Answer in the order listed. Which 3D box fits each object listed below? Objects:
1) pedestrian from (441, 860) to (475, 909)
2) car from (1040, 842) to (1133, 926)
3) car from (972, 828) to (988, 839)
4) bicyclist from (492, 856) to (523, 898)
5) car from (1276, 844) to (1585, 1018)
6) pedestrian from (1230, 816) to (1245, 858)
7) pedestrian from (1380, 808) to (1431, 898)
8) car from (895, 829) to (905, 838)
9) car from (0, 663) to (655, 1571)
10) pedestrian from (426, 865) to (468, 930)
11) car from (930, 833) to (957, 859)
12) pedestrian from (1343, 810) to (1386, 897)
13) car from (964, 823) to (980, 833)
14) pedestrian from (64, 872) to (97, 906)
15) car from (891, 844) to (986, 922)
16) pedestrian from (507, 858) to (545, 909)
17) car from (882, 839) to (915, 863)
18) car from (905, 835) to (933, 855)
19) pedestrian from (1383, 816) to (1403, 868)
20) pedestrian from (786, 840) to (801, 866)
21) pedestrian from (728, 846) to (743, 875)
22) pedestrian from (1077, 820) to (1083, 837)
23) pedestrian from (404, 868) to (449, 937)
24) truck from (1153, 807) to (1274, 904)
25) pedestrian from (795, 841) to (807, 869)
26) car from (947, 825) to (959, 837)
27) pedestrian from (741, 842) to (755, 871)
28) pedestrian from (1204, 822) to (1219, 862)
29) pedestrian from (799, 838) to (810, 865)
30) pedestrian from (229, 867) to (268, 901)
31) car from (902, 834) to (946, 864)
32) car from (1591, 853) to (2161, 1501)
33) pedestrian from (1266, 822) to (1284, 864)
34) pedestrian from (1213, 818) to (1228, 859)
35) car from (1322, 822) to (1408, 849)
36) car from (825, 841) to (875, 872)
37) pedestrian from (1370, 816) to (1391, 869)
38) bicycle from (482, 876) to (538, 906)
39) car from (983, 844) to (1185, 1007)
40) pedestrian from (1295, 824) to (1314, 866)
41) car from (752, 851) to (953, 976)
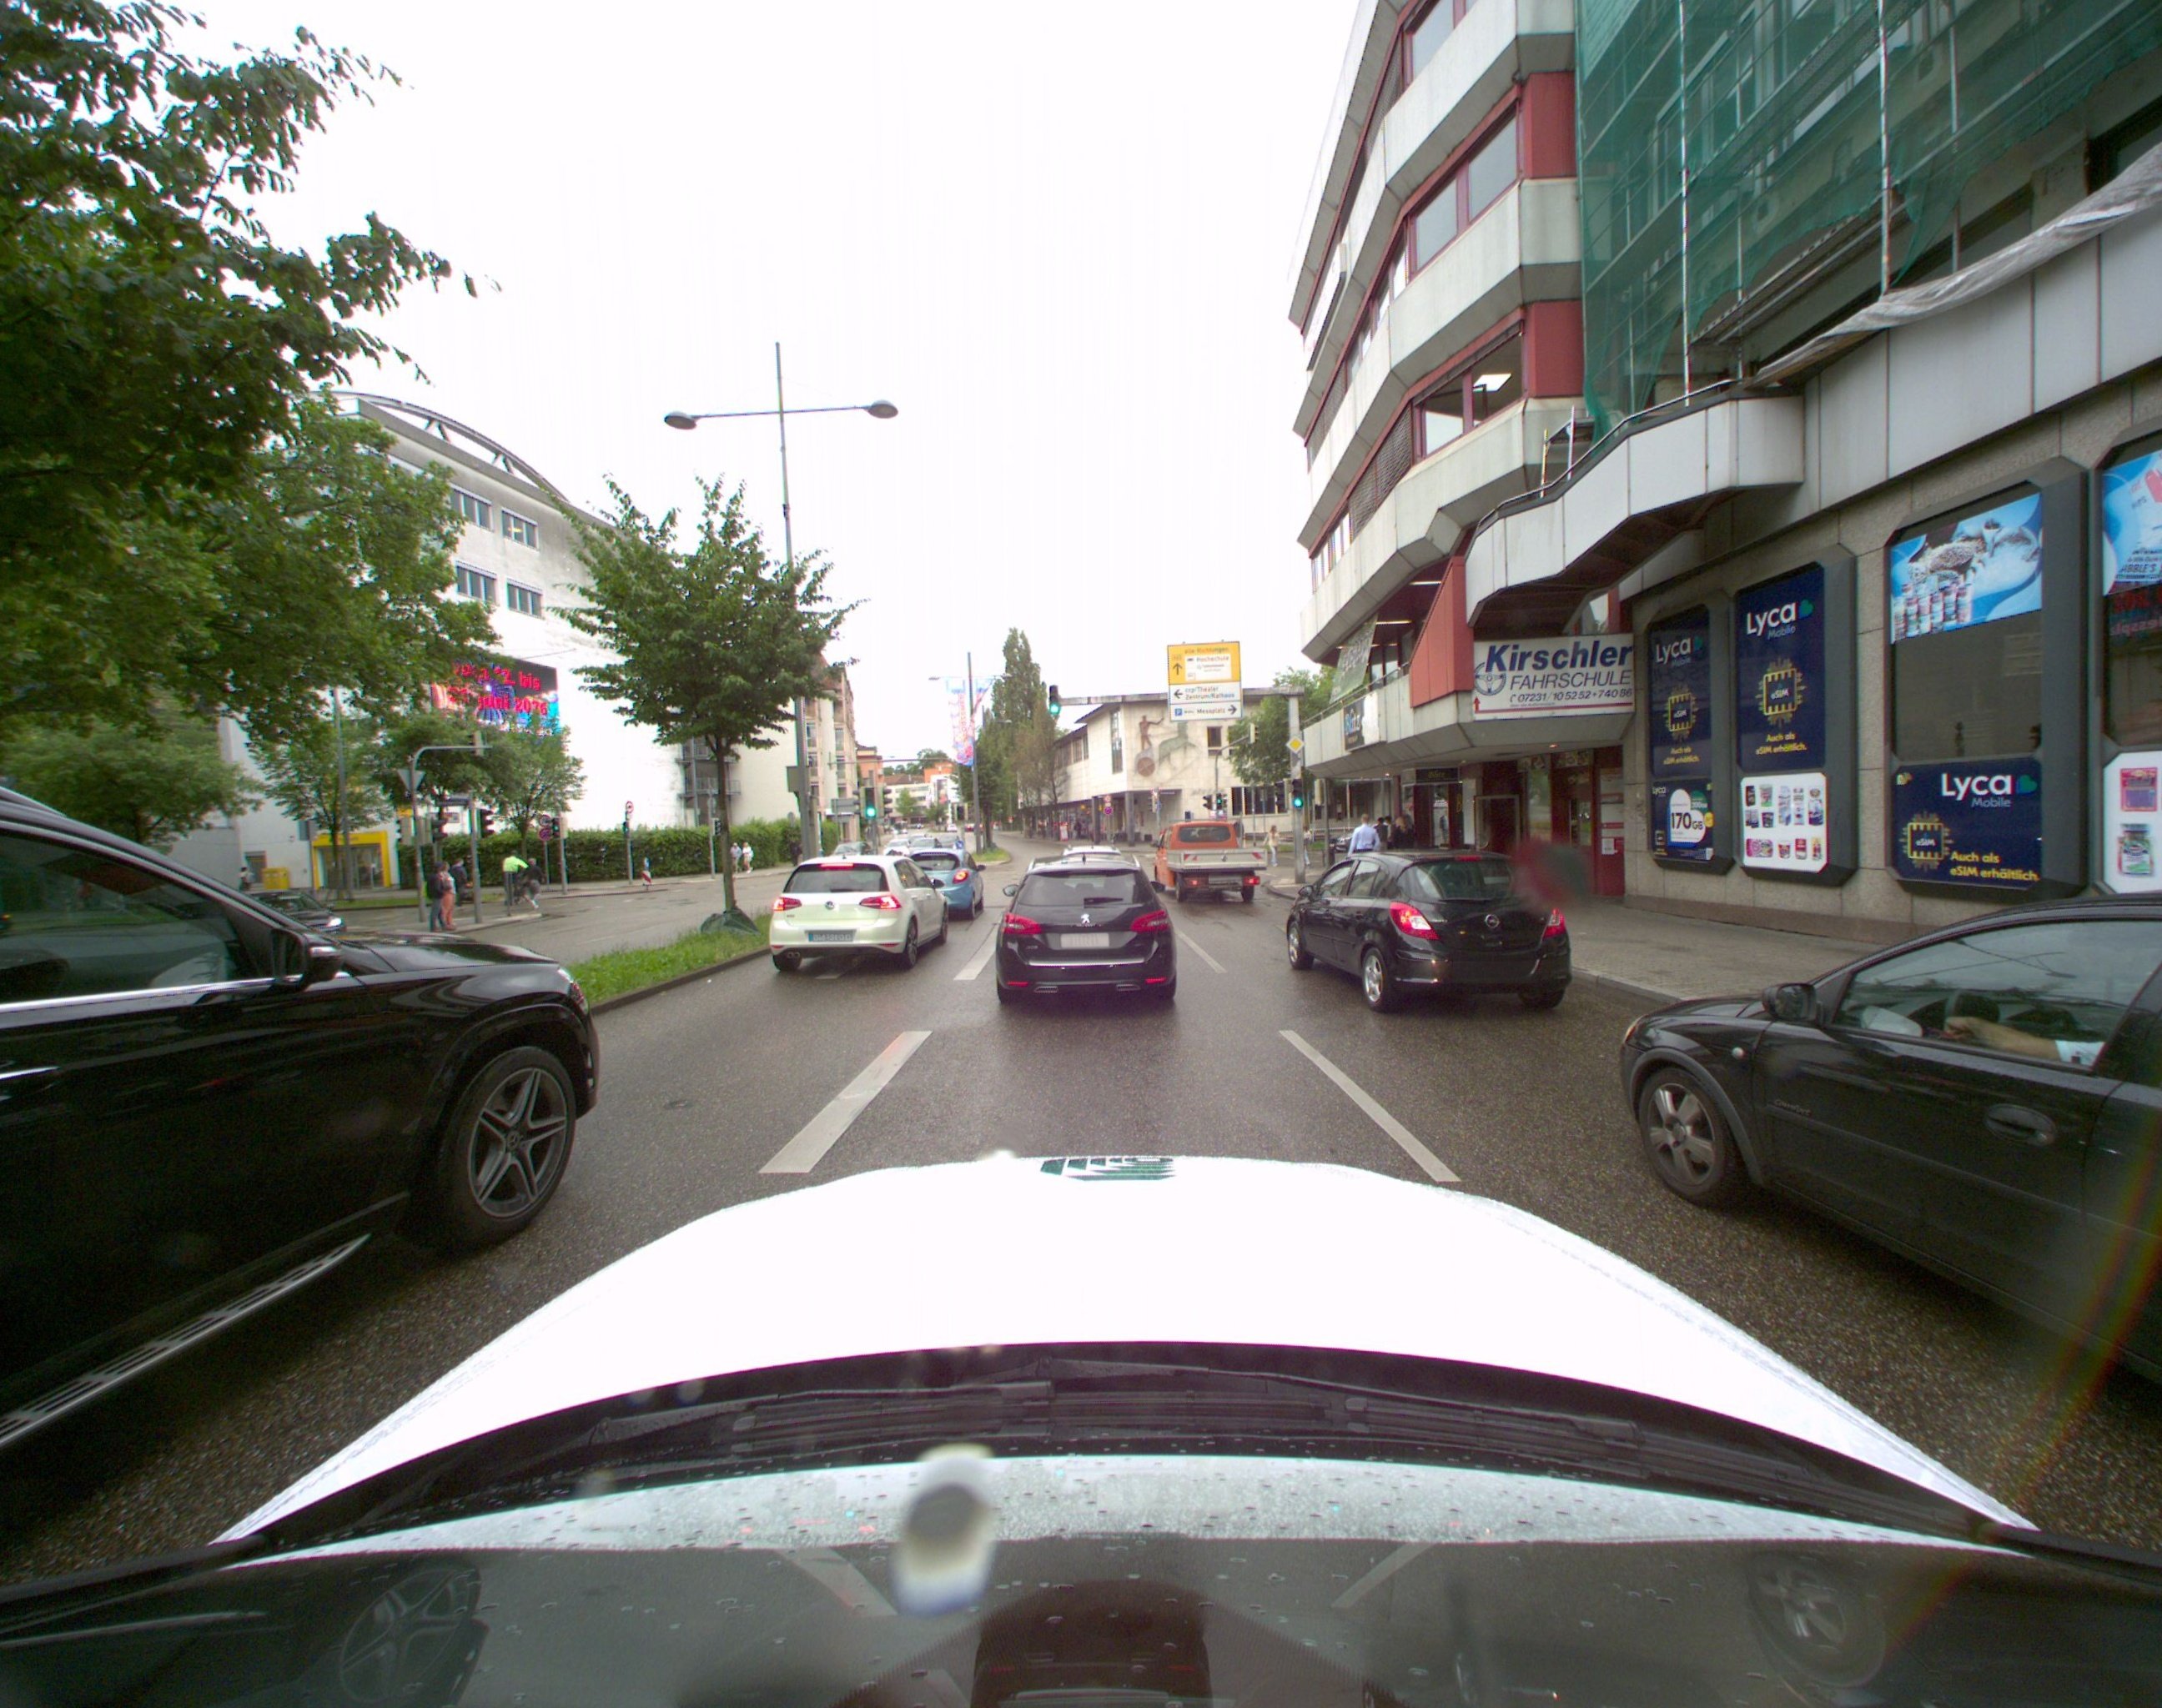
[{"bbox_3d":[-21.992,1.060,28.770,0.637,1.666,0.580,-2,2,1],"label":"pedestrian"},{"bbox_3d":[0.152,0.531,16.833,1.690,1.486,3.795,-1,1,2],"label":"car"},{"bbox_3d":[-15.281,-3.084,123.017,1.790,1.454,4.485,-5,3,-14],"label":"car"},{"bbox_3d":[-21.155,0.840,30.032,0.629,1.530,0.609,-3,-1,1],"label":"bicyclist"},{"bbox_3d":[3.387,0.621,8.730,1.611,1.429,3.840,-1,1,-1],"label":"car"},{"bbox_3d":[7.272,-0.783,37.830,0.633,1.897,0.735,-1,-1,8],"label":"pedestrian"},{"bbox_3d":[7.374,-0.019,18.535,0.733,1.934,0.640,-5,-1,1],"label":"pedestrian"},{"bbox_3d":[-44.914,-5.123,202.240,1.999,2.014,3.976,0,-1,-18],"label":"car"},{"bbox_3d":[-3.183,0.549,1.656,1.905,1.870,5.073,-1,-1,1],"label":"car"},{"bbox_3d":[-16.948,1.152,21.782,0.555,1.661,0.580,-2,2,2],"label":"pedestrian"},{"bbox_3d":[-9.261,-0.492,55.138,1.743,1.640,3.988,0,-1,-9],"label":"car"},{"bbox_3d":[6.411,-0.007,18.445,0.733,1.935,0.640,-1,-1,1],"label":"pedestrian"},{"bbox_3d":[-19.109,-4.538,142.606,1.731,1.490,4.699,0,-1,-21],"label":"car"},{"bbox_3d":[-48.488,1.685,39.471,0.633,1.643,0.735,-1,-1,8],"label":"pedestrian"},{"bbox_3d":[-3.046,0.555,18.062,1.629,1.486,3.606,-1,1,-3],"label":"car"},{"bbox_3d":[-18.801,0.993,27.608,0.750,1.661,0.628,-2,2,1],"label":"pedestrian"},{"bbox_3d":[-12.138,-0.219,54.264,1.630,1.486,3.604,-1,1,-4],"label":"car"},{"bbox_3d":[-12.634,-0.742,63.687,1.630,1.486,3.604,-1,1,-4],"label":"car"},{"bbox_3d":[10.143,-0.377,26.484,0.395,1.640,0.504,-3,-1,2],"label":"pedestrian"},{"bbox_3d":[-18.451,-0.071,52.224,0.634,1.643,0.735,-1,-1,5],"label":"pedestrian"},{"bbox_3d":[-19.304,0.376,45.505,0.579,1.599,0.526,-1,-1,-5],"label":"pedestrian"},{"bbox_3d":[-0.119,-2.580,82.863,0.469,1.748,0.537,0,-1,-19],"label":"pedestrian"},{"bbox_3d":[-16.498,1.209,20.523,0.555,1.661,0.580,-2,2,2],"label":"pedestrian"},{"bbox_3d":[3.220,-0.021,20.870,2.171,2.172,5.018,-1,1,-1],"label":"truck"},{"bbox_3d":[-17.395,0.052,50.638,0.538,1.748,0.745,0,-1,-7],"label":"pedestrian"},{"bbox_3d":[-23.060,-4.156,147.036,1.709,1.882,3.979,0,-1,-15],"label":"car"},{"bbox_3d":[-18.585,0.165,45.505,0.579,1.599,0.526,-1,-1,-5],"label":"pedestrian"},{"bbox_3d":[5.859,-0.519,36.547,0.633,1.758,0.735,-1,-1,8],"label":"pedestrian"},{"bbox_3d":[-17.729,-0.166,52.274,0.538,1.748,0.564,-1,-1,-3],"label":"pedestrian"},{"bbox_3d":[-39.484,1.420,38.633,1.059,1.578,0.683,-1,-1,-3],"label":"pedestrian"},{"bbox_3d":[-8.713,-0.255,45.440,1.739,1.579,3.997,-1,-1,-1],"label":"car"},{"bbox_3d":[3.280,0.746,2.272,1.600,1.429,3.626,-1,1,3],"label":"car"},{"bbox_3d":[7.841,-0.435,32.990,0.633,1.659,0.735,-1,-1,8],"label":"pedestrian"},{"bbox_3d":[6.513,-0.711,38.010,0.633,1.897,0.735,-1,-1,8],"label":"pedestrian"},{"bbox_3d":[13.910,-0.879,40.071,3.669,1.212,1.839,-1,-1,6],"label":"car"},{"bbox_3d":[-11.741,0.084,41.567,1.569,1.486,3.608,-1,1,-1],"label":"car"},{"bbox_3d":[9.615,-0.373,26.187,0.424,1.682,0.450,-3,-1,0],"label":"pedestrian"},{"bbox_3d":[-21.124,1.352,30.170,0.613,1.000,1.941,-3,-1,2],"label":"bicycle"},{"bbox_3d":[0.113,0.616,9.150,1.770,1.429,3.845,-1,1,2],"label":"car"},{"bbox_3d":[9.002,-0.361,32.830,0.633,1.659,0.735,-1,-1,8],"label":"pedestrian"},{"bbox_3d":[-3.030,0.706,11.665,1.772,1.429,3.842,-1,1,0],"label":"car"}]
